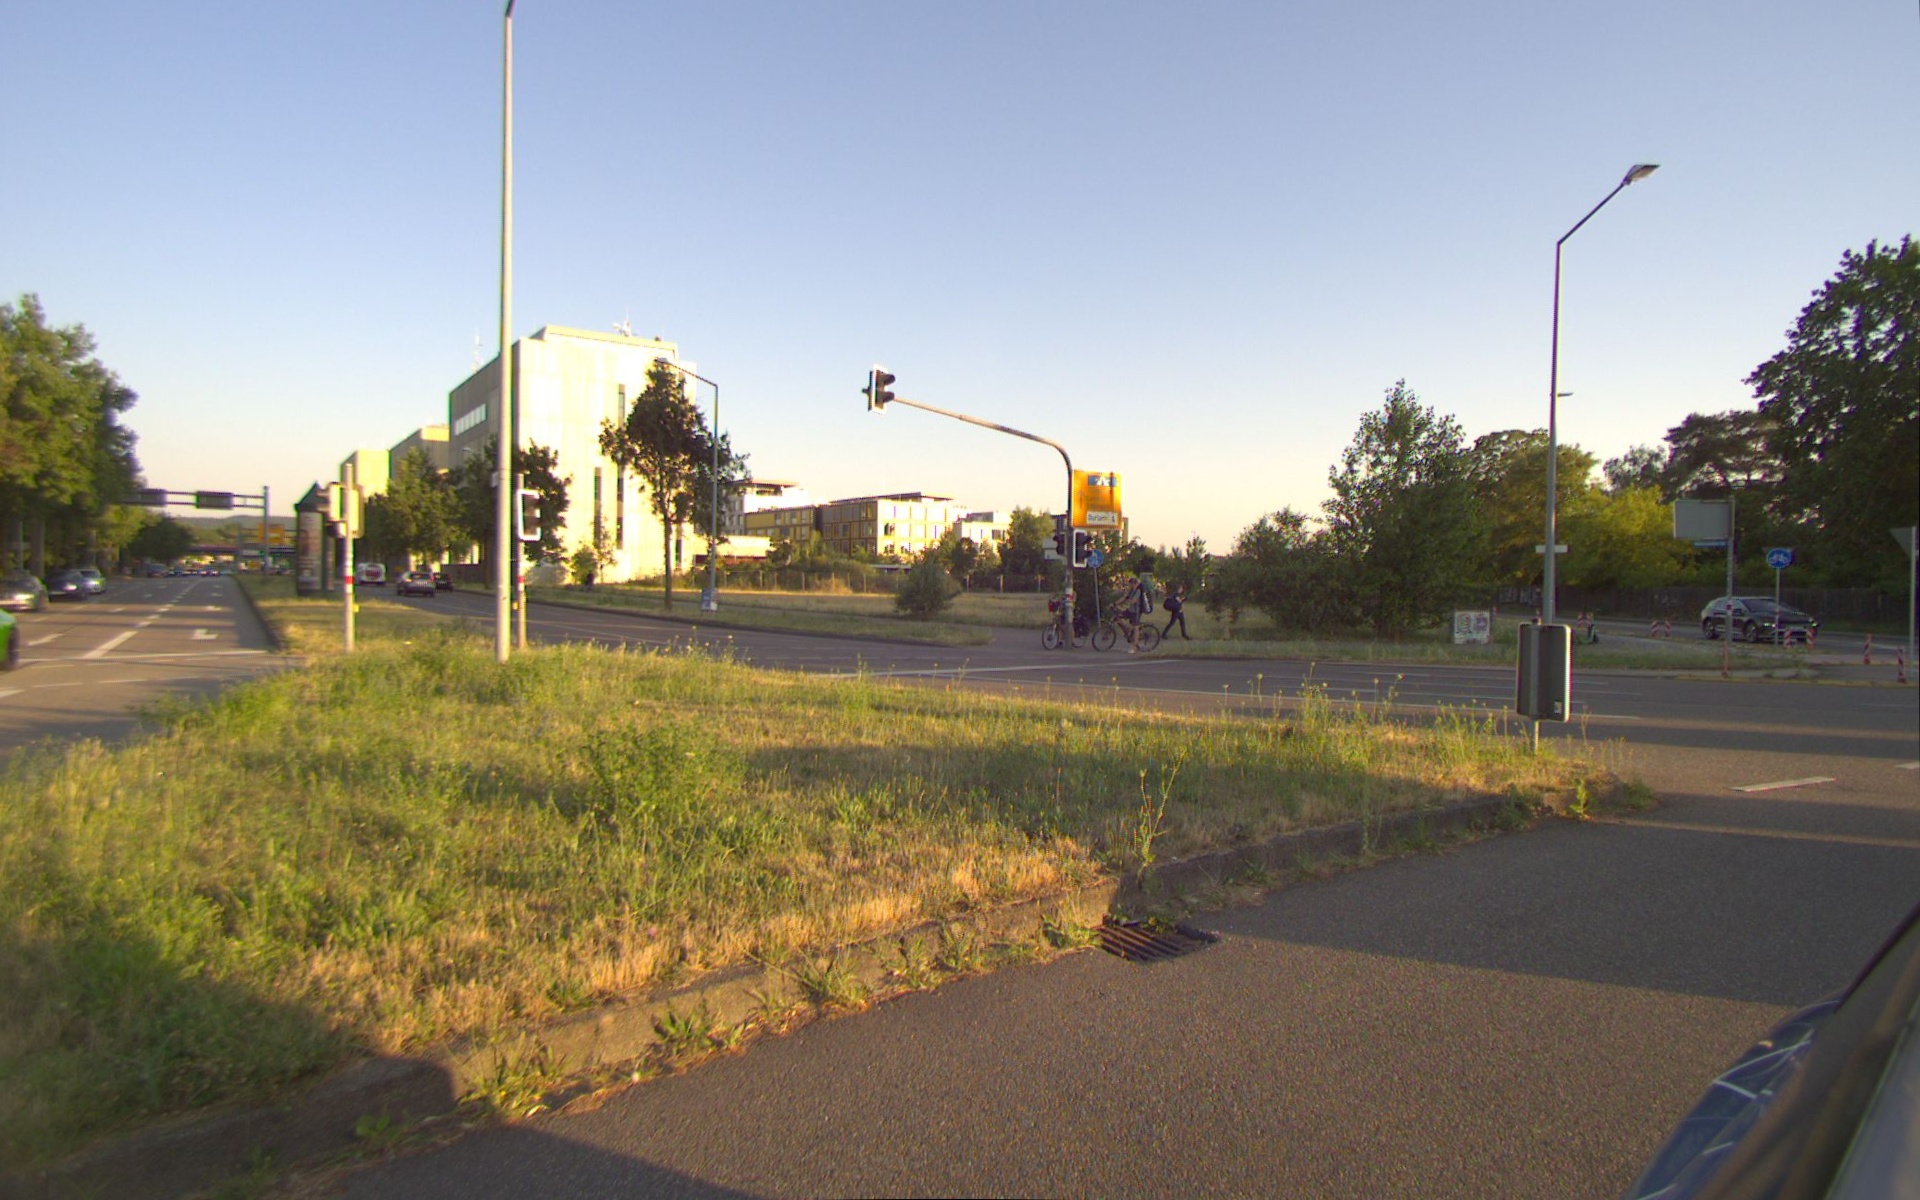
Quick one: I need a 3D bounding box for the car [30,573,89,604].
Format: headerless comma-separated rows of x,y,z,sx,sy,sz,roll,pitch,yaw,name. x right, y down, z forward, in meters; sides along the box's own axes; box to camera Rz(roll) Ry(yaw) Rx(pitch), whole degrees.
-44.749,-0.609,50.377,1.833,1.472,4.161,0,1,-37,car

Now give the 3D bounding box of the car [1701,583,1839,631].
29.116,0.194,36.586,1.967,1.617,4.304,1,1,9,car

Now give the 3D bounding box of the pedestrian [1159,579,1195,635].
6.437,0.191,30.050,0.978,1.610,0.922,1,1,16,pedestrian

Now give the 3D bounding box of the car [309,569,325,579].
-108.344,-4.419,170.419,1.963,1.593,3.999,0,1,-36,car

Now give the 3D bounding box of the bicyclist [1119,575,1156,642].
4.603,0.209,26.258,0.674,1.711,0.727,1,1,-13,bicyclist

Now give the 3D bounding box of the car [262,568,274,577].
-142.396,-5.675,208.344,1.962,1.805,4.001,0,1,-35,car

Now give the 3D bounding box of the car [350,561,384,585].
-50.986,-2.327,87.012,2.030,1.971,4.960,0,1,-36,car

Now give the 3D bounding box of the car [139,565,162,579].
-91.924,-3.165,114.942,1.880,1.603,4.179,0,1,-37,car

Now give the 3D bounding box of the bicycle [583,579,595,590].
-27.441,-1.137,74.878,0.487,0.837,1.515,0,1,-35,bicycle

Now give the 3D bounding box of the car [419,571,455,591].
-39.375,-1.408,76.137,1.961,1.445,4.201,0,1,-33,car

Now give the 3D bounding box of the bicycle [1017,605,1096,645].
2.603,0.659,27.341,2.065,0.975,0.711,-2,2,-27,bicycle

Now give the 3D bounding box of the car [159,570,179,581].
-109.018,-3.402,139.459,1.965,1.524,4.614,-1,1,-41,car

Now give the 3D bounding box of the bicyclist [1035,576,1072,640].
2.517,0.208,27.323,0.675,1.711,0.726,0,1,-29,bicyclist

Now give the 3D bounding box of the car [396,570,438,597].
-34.336,-1.028,63.932,1.962,1.649,4.001,0,1,-34,car

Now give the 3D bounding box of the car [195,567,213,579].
-106.268,-3.788,142.205,1.963,1.524,4.771,0,1,-36,car

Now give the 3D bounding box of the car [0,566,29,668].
-15.596,0.298,14.882,1.961,1.598,4.489,-1,2,-32,car

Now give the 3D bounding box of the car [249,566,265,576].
-107.821,-4.457,155.187,1.963,1.524,4.111,0,1,-36,car

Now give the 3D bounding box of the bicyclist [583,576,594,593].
-27.478,-1.144,74.822,0.606,1.272,0.735,0,1,-34,bicyclist

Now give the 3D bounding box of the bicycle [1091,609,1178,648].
4.530,0.732,26.236,2.100,0.975,0.711,1,1,-15,bicycle

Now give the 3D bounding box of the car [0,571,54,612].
-36.901,-0.355,39.603,1.834,1.407,4.160,4,0,-39,car

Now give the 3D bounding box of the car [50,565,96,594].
-51.074,-1.153,58.272,1.837,1.471,3.963,-6,4,-42,car
